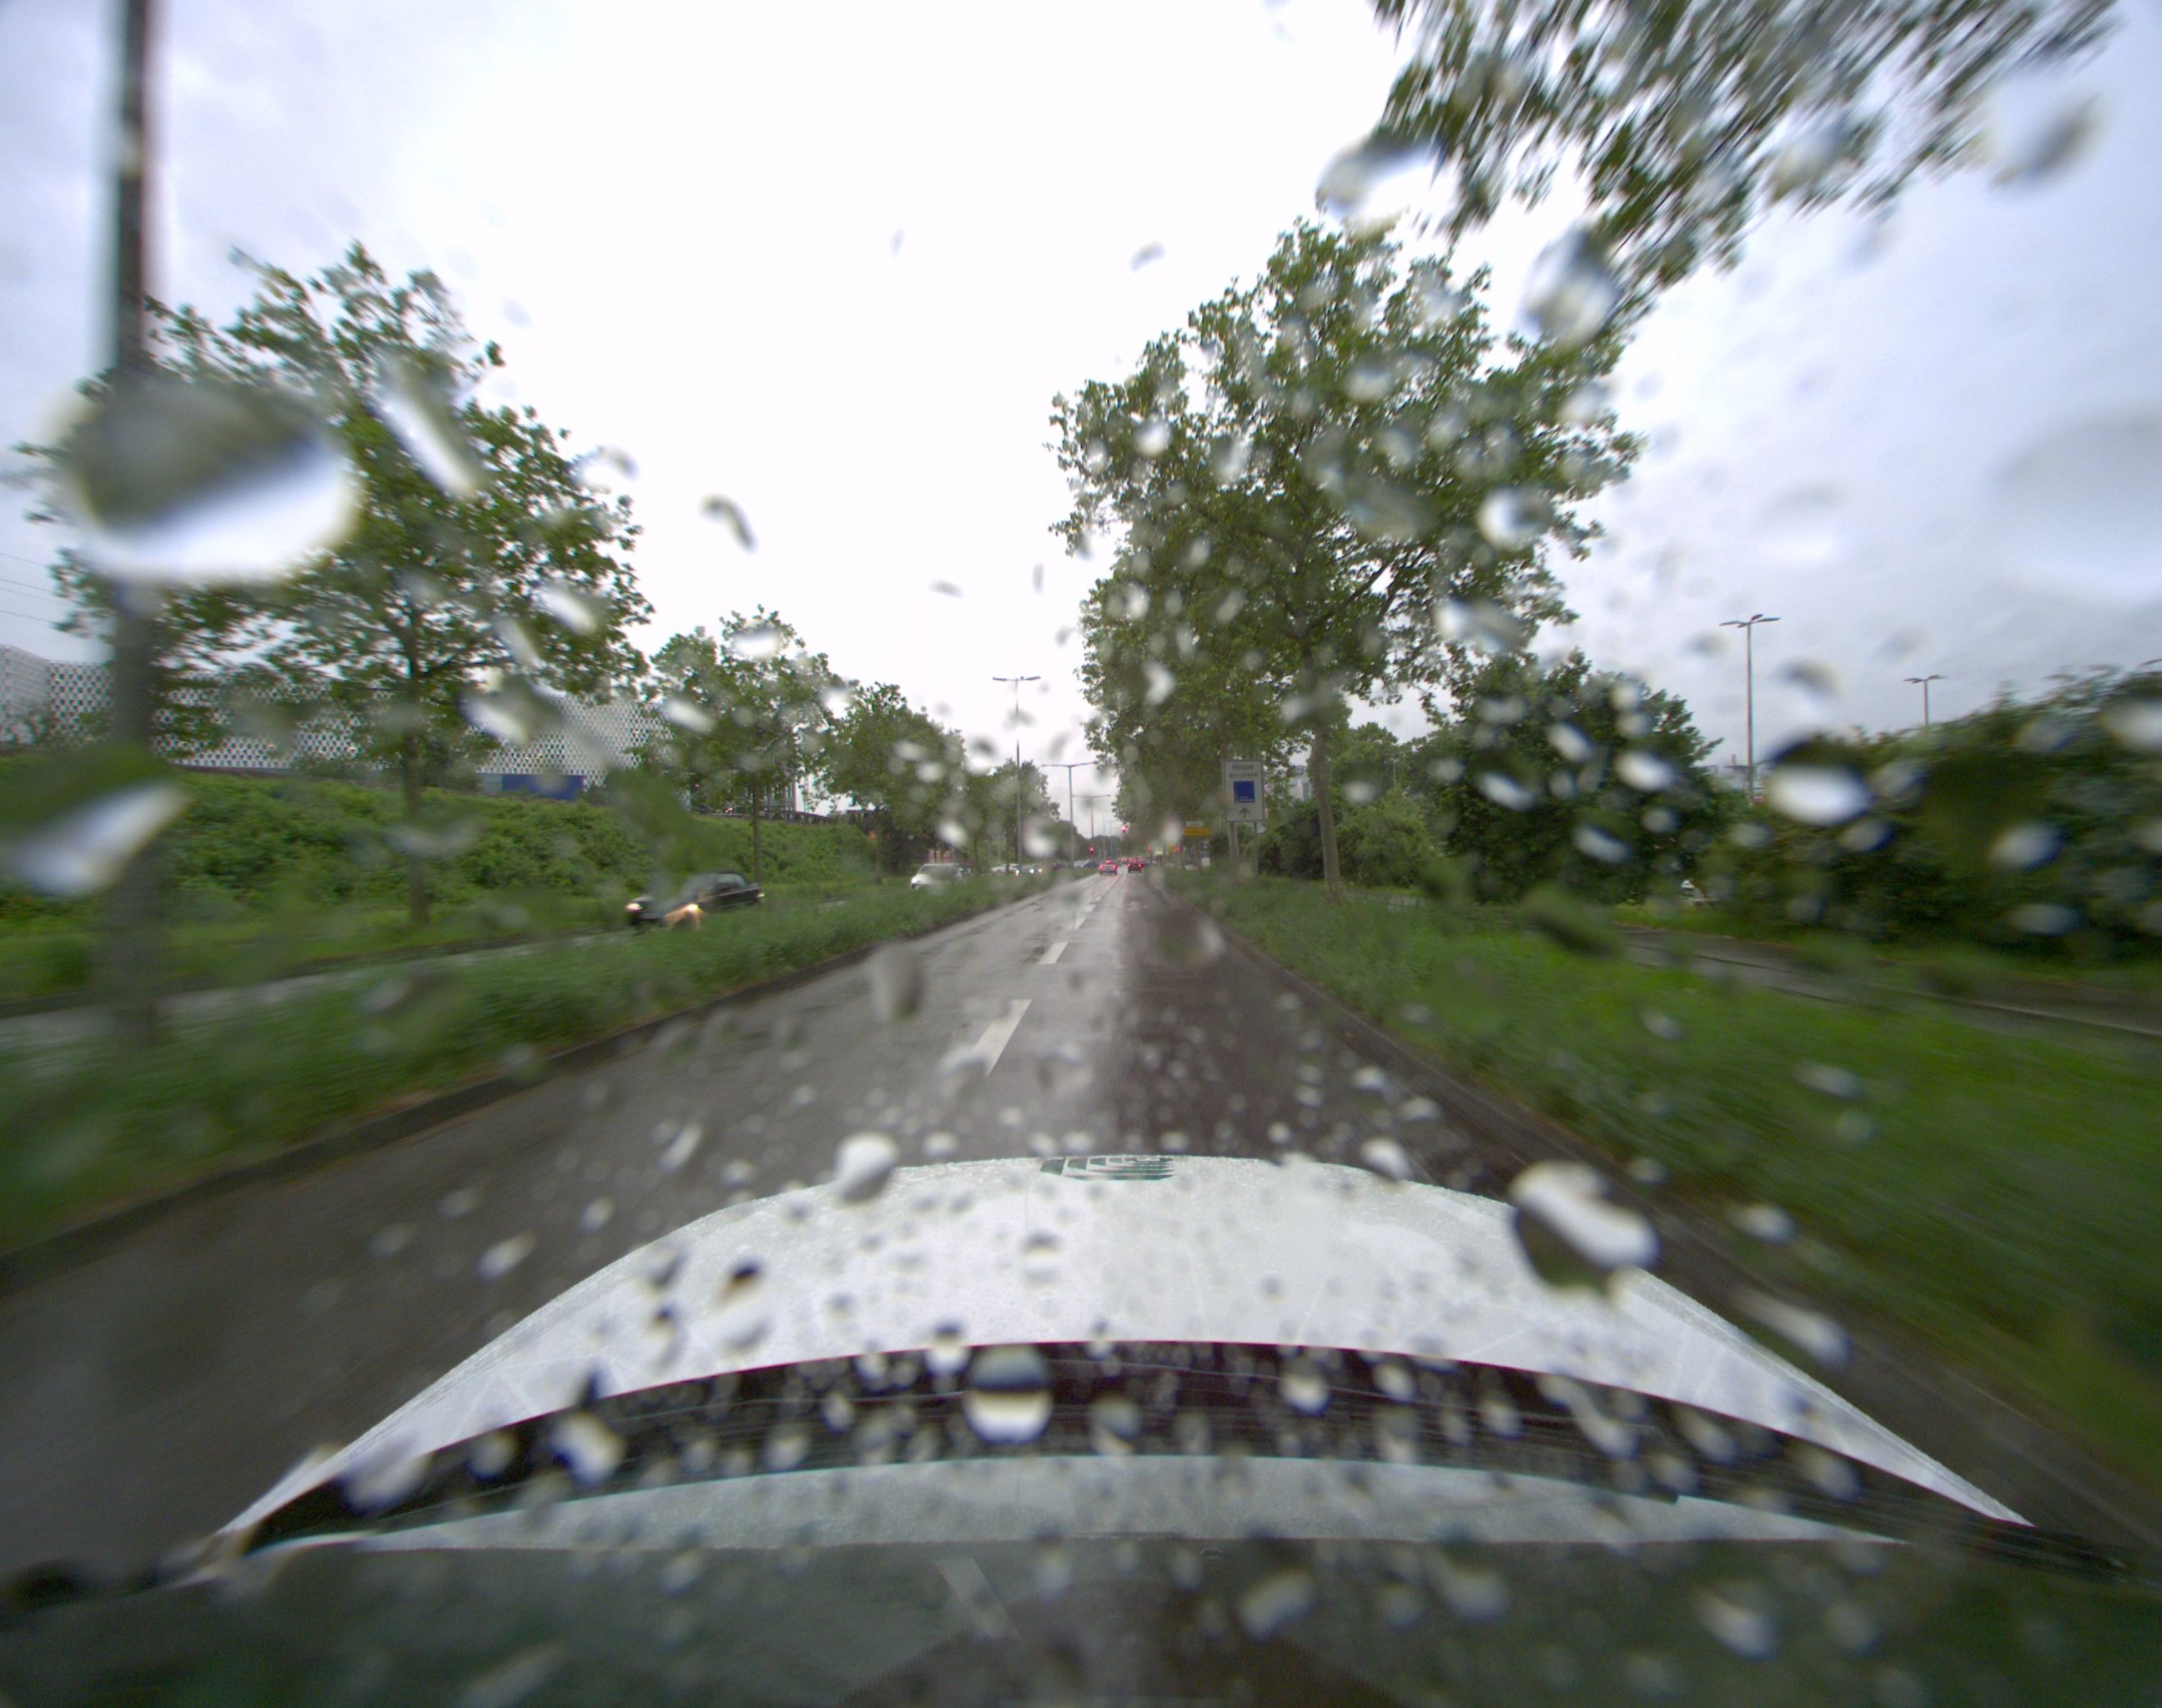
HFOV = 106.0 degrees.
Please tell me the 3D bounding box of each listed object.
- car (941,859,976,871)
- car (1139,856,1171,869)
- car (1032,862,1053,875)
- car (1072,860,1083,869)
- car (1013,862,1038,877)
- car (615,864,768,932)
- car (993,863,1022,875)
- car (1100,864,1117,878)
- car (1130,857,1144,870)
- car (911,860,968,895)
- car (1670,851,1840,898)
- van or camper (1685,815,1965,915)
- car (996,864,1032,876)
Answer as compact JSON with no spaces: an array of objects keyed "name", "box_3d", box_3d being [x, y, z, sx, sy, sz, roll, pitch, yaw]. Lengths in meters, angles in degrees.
[{"name":"car","box_3d":[-16.818,1.504,112.170,4.395,1.537,1.787,-1,-1,-26]},{"name":"car","box_3d":[10.323,1.177,113.783,4.407,1.537,1.782,-4,2,-36]},{"name":"car","box_3d":[-4.267,1.608,91.580,1.922,1.445,3.711,-1,0,3]},{"name":"car","box_3d":[-0.636,1.933,151.756,1.705,1.530,4.004,-2,-1,4]},{"name":"car","box_3d":[-5.565,1.527,82.026,1.922,1.445,4.500,-1,0,3]},{"name":"car","box_3d":[-9.280,0.992,19.781,1.624,1.426,4.003,-1,0,3]},{"name":"car","box_3d":[-11.404,2.258,126.102,4.011,1.846,1.981,1,-1,-30]},{"name":"car","box_3d":[2.964,1.771,87.724,1.682,1.433,4.579,-1,-1,4]},{"name":"car","box_3d":[7.107,1.214,103.075,1.788,1.537,4.391,0,-1,4]},{"name":"car","box_3d":[-6.517,1.052,37.857,1.695,1.495,4.207,-1,0,3]},{"name":"car","box_3d":[22.211,0.656,26.993,3.965,1.456,1.881,-1,0,7]},{"name":"van or camper","box_3d":[20.475,0.259,22.657,5.696,2.587,2.003,-1,3,5]},{"name":"car","box_3d":[-8.629,2.074,104.613,4.597,1.445,1.949,-1,-1,40]}]
